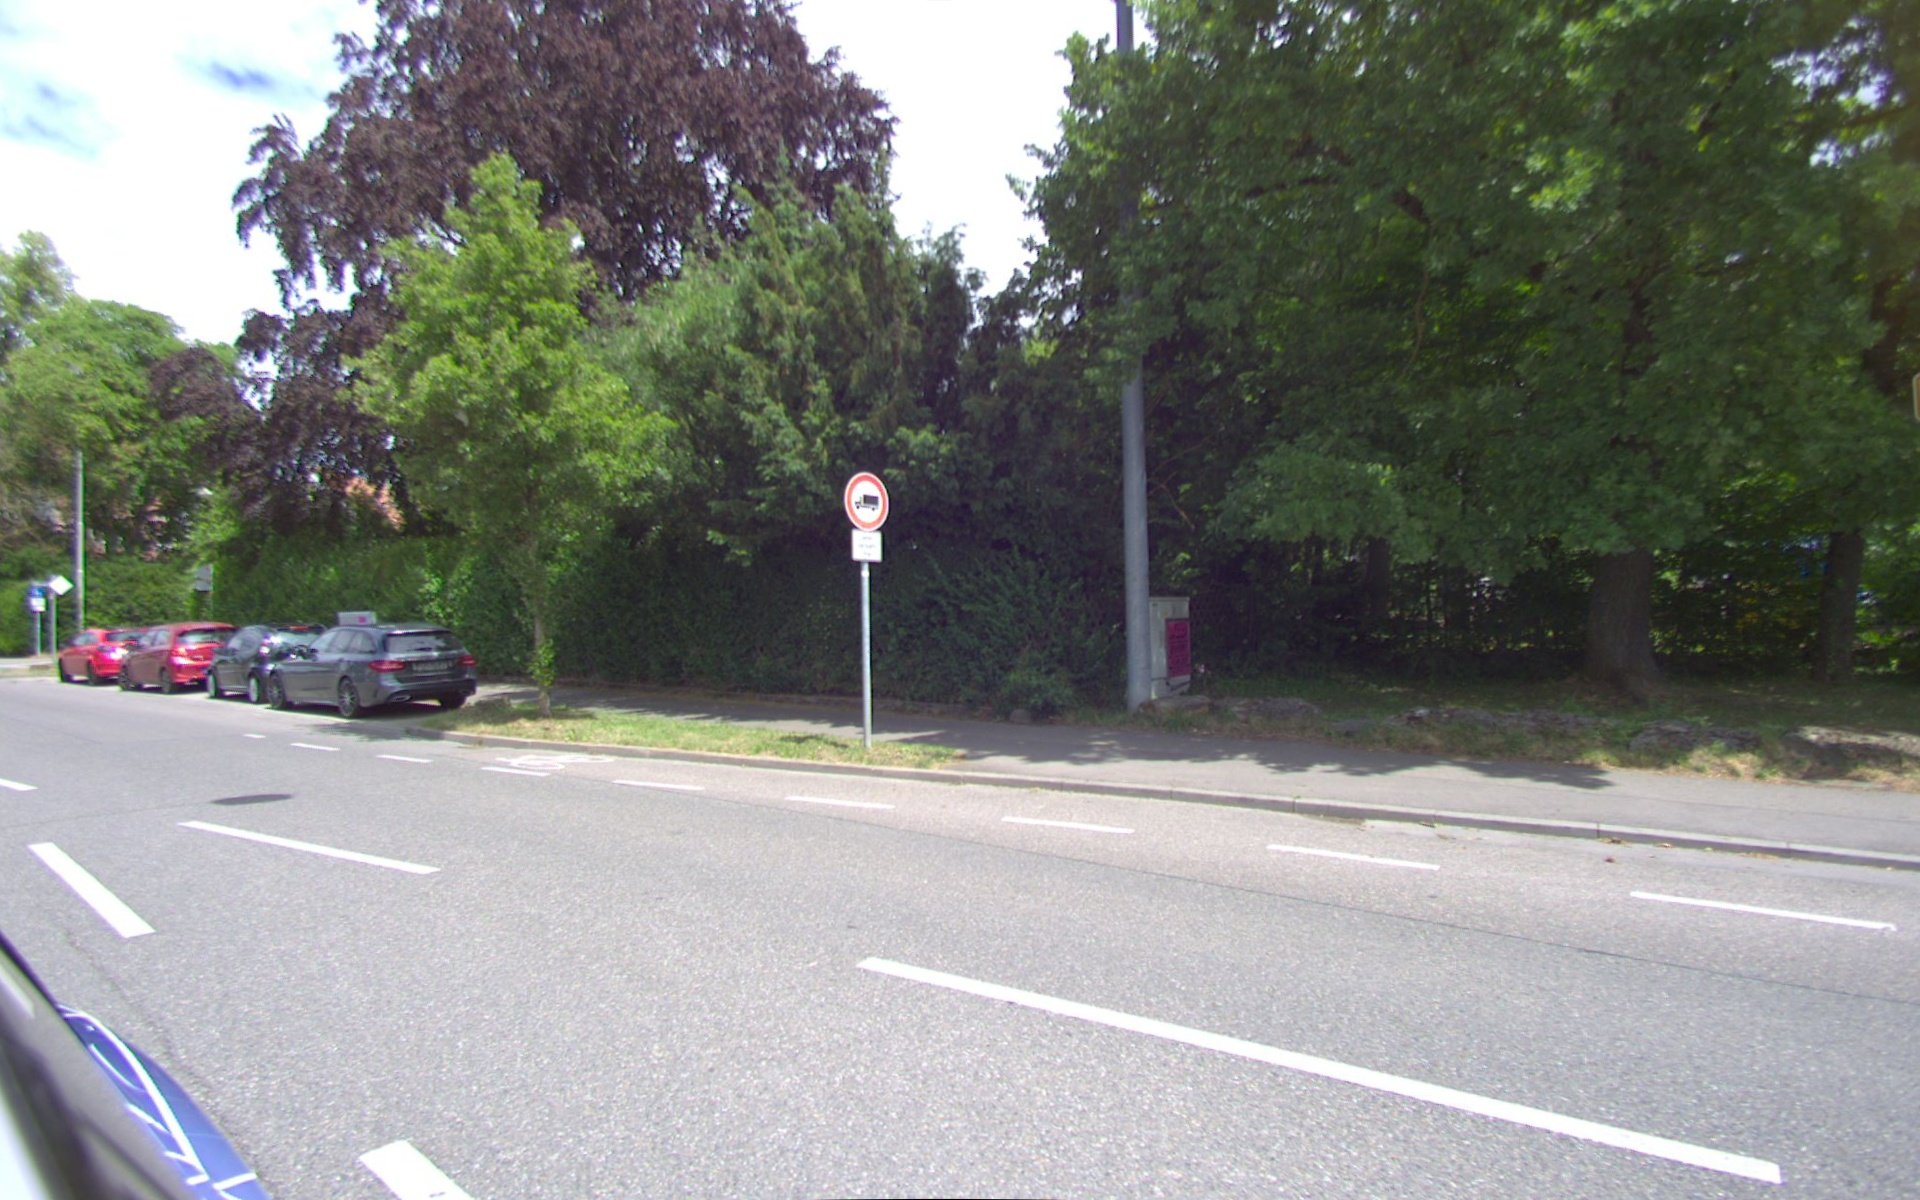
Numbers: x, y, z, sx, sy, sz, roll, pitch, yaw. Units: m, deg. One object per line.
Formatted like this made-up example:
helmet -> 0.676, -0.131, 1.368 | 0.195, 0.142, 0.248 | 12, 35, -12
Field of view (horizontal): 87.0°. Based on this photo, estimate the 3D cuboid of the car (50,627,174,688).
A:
car -> -21.362, 1.397, 25.466 | 3.366, 1.376, 1.513 | -1, 1, 34

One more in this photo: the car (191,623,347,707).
car -> -13.474, 1.204, 19.694 | 3.188, 1.422, 1.540 | -1, 1, 37

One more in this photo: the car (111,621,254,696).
car -> -17.201, 1.249, 22.354 | 3.315, 1.489, 1.506 | -1, 1, 34

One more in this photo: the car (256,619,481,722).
car -> -9.947, 1.077, 16.904 | 4.394, 1.426, 1.667 | 0, 1, 37
